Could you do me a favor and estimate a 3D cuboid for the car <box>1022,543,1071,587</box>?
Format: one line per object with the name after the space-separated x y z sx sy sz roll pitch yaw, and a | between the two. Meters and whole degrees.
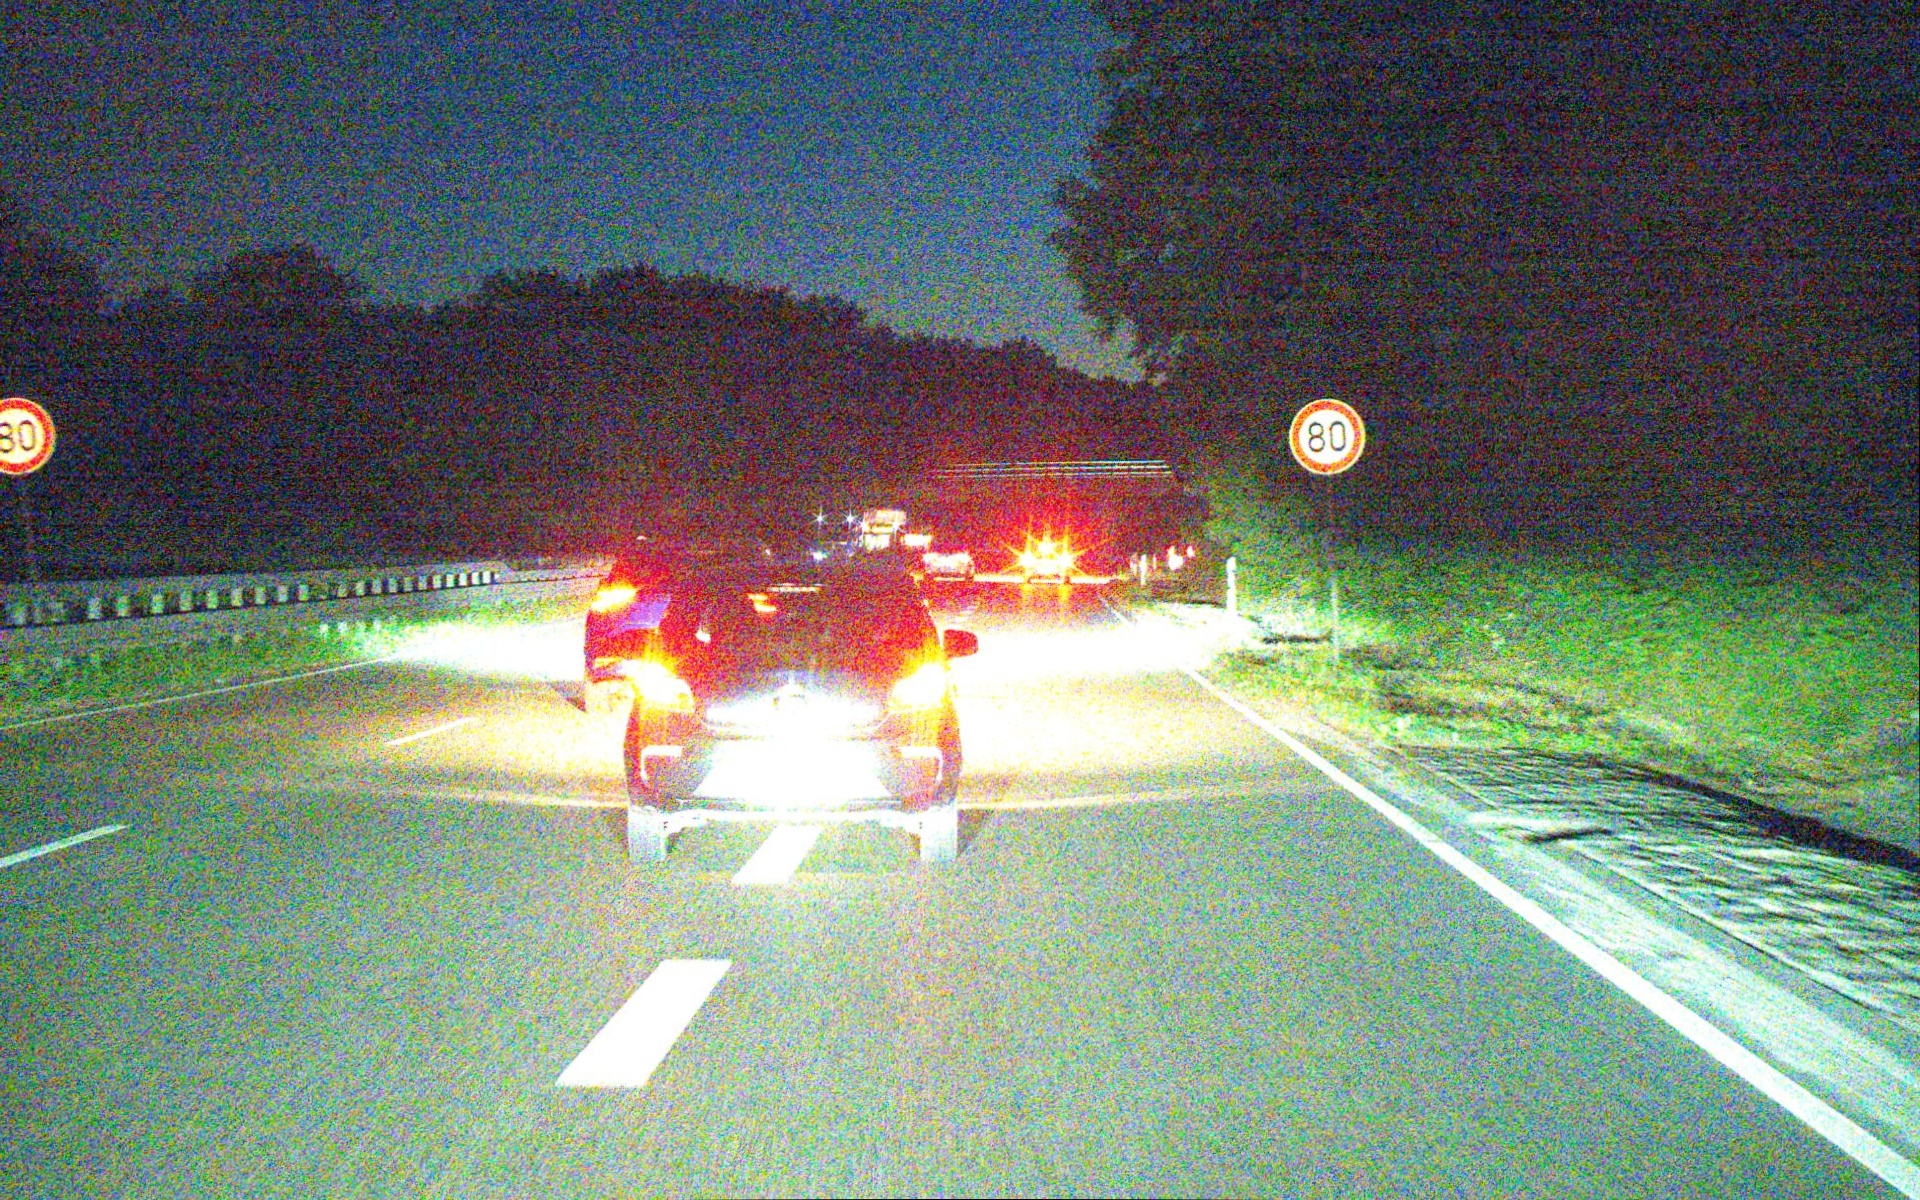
3.230 -1.333 128.837 1.733 1.612 3.798 0 1 0 | car

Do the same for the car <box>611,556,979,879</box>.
-0.872 0.525 18.007 1.691 1.473 4.001 1 1 -3 | car

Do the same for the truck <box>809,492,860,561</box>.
-7.699 -4.529 211.653 2.676 4.163 5.868 0 1 3 | truck

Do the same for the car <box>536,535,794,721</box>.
-2.693 0.201 32.438 1.940 1.603 4.643 1 1 1 | car

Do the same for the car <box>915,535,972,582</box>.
-0.596 -1.556 129.371 1.951 1.533 4.241 -4 -1 1 | car

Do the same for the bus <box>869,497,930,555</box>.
-3.587 -4.461 206.158 2.923 3.376 12.307 0 2 2 | bus
